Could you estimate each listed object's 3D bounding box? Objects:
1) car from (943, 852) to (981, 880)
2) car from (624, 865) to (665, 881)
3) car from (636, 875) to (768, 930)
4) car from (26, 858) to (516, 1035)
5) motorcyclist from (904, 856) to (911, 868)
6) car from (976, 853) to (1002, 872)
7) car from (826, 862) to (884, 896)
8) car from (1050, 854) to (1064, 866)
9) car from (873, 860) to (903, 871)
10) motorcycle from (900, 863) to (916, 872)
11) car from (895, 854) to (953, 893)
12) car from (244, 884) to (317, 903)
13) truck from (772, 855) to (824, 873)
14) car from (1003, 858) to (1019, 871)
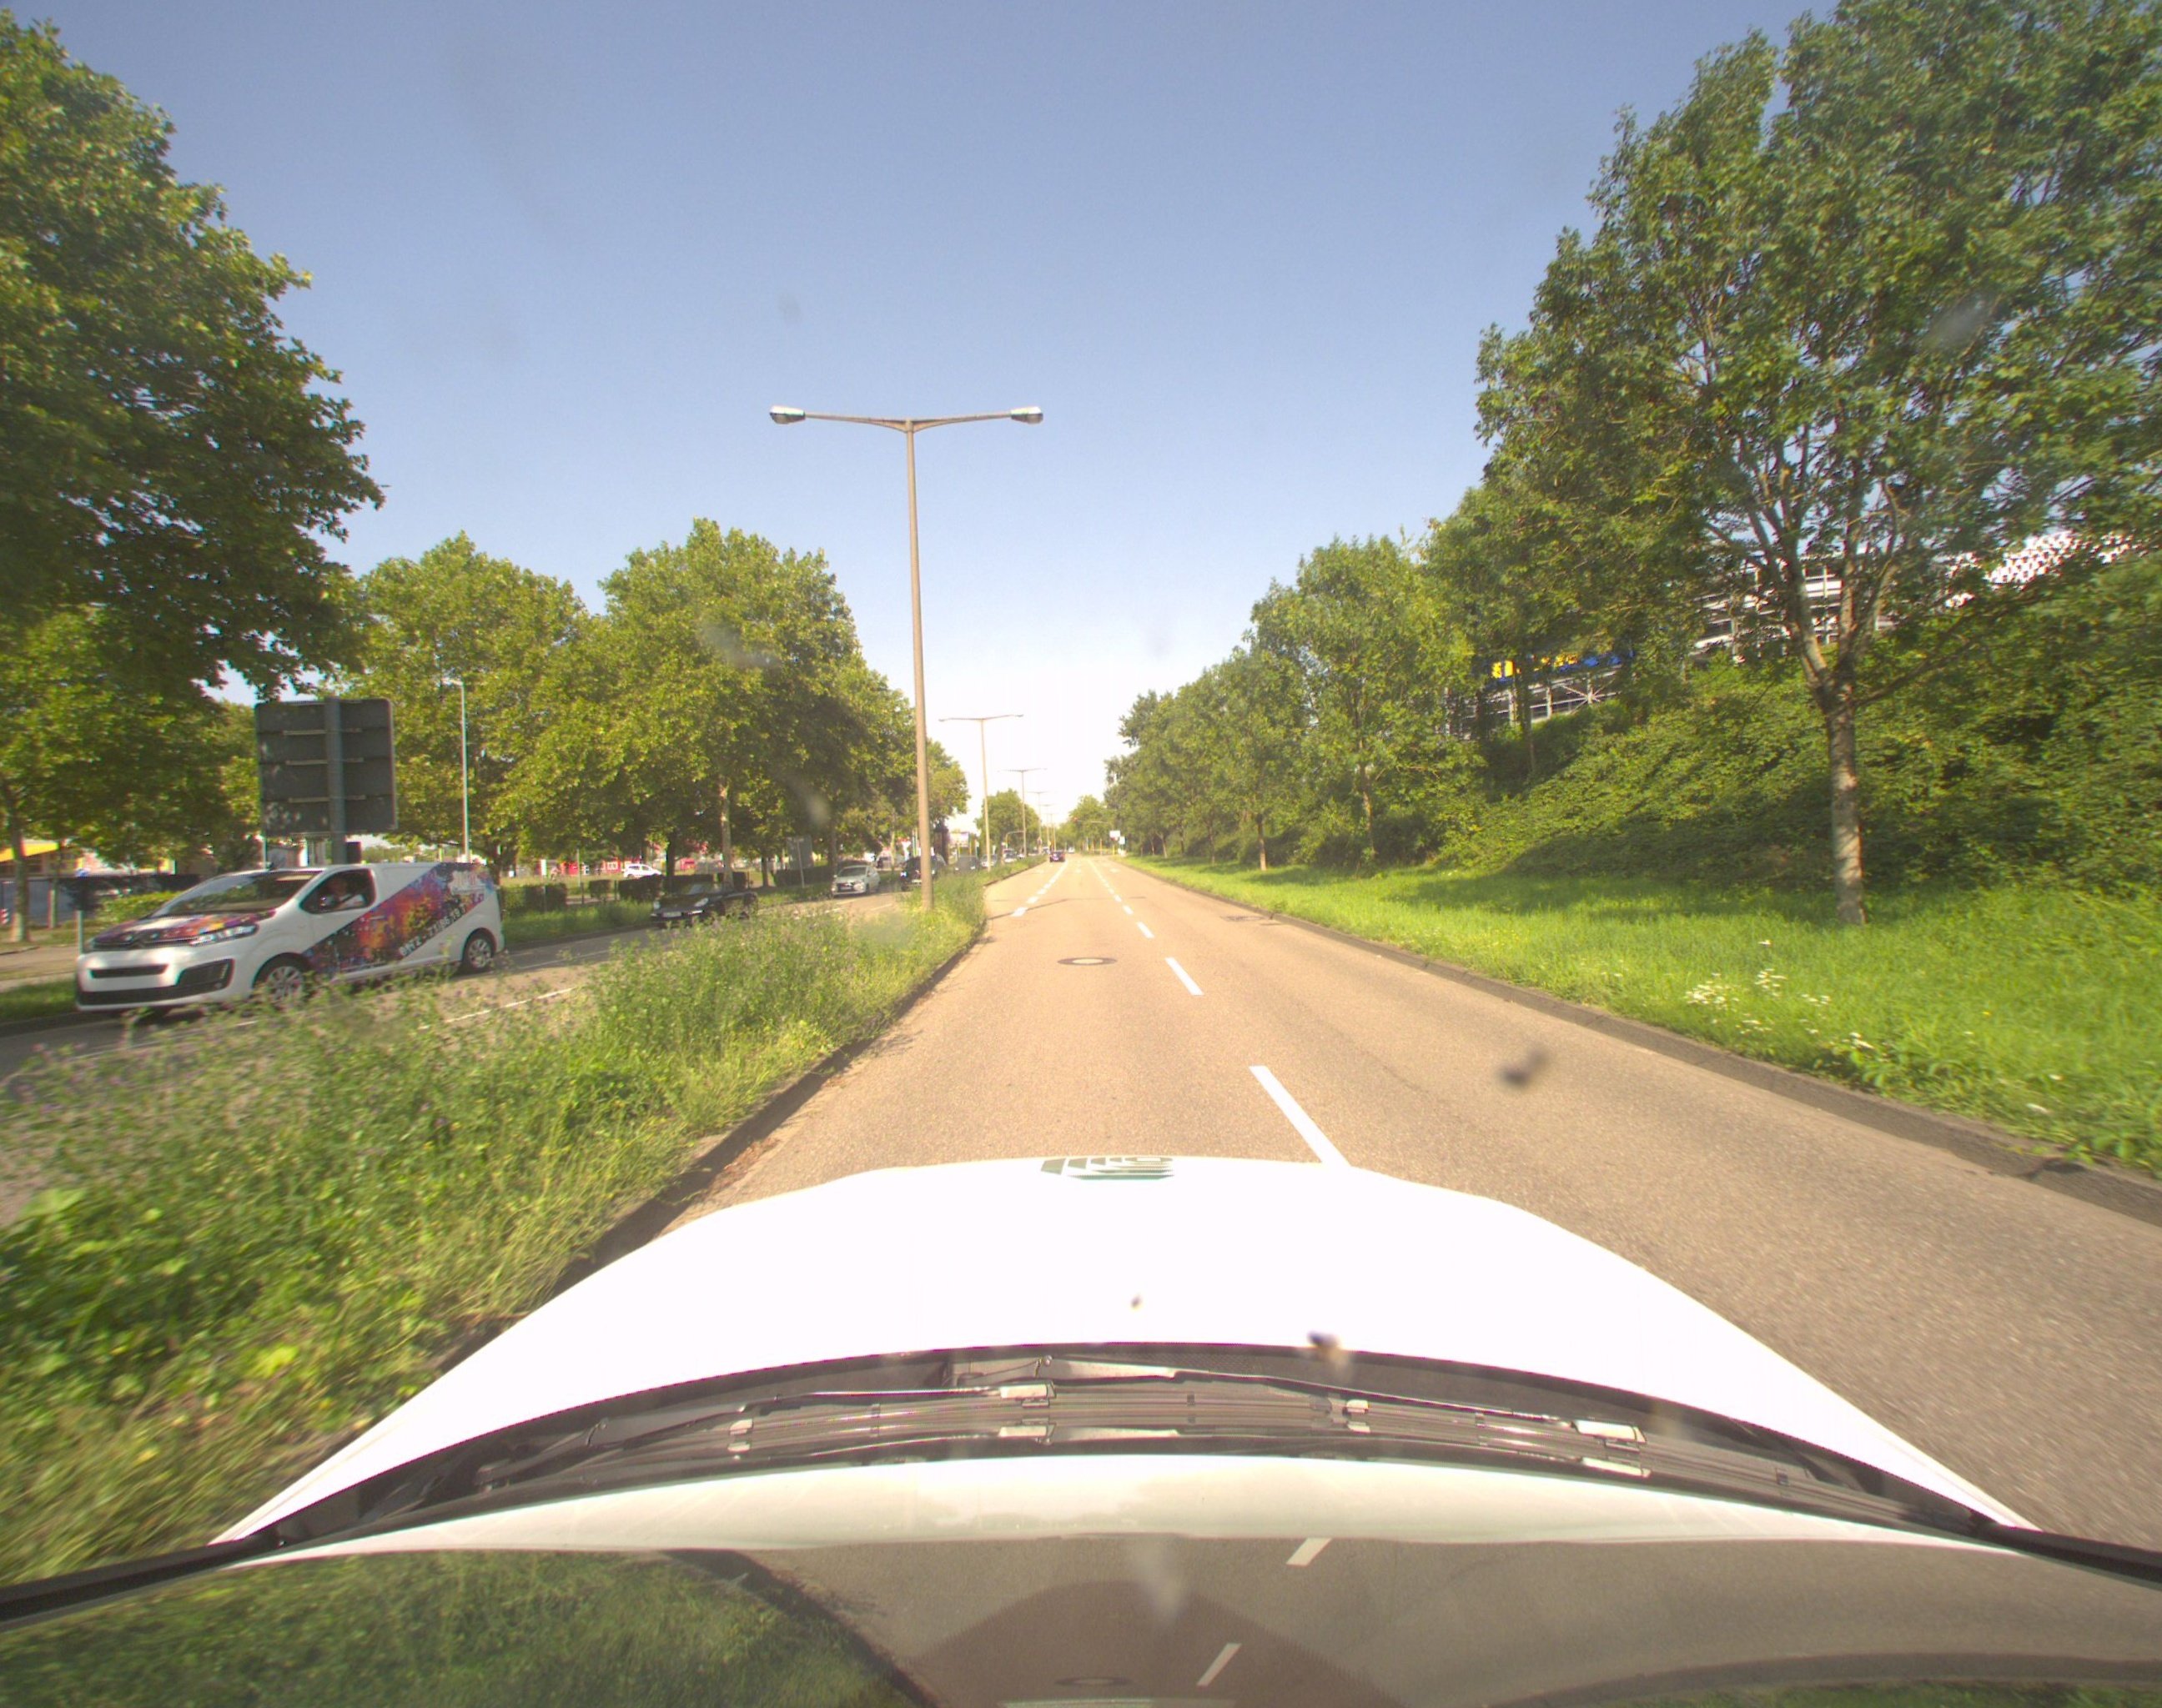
[{"bbox_3d":[-8.484,0.849,58.385,1.987,1.759,4.306,-4,0,0],"label":"car"},{"bbox_3d":[-50.203,2.119,93.655,4.016,1.679,1.850,-1,0,-34],"label":"car"},{"bbox_3d":[-11.006,1.352,24.004,1.784,1.263,4.097,-4,0,2],"label":"car"},{"bbox_3d":[-10.955,1.065,11.763,1.978,1.858,4.968,-4,0,0],"label":"car"},{"bbox_3d":[-23.618,1.129,111.078,0.687,1.572,0.676,-1,0,-36],"label":"motorcyclist"},{"bbox_3d":[-8.462,0.767,74.977,1.874,1.594,4.107,-2,0,0],"label":"car"},{"bbox_3d":[-11.168,1.207,40.482,1.786,1.482,3.997,-3,0,-2],"label":"car"},{"bbox_3d":[-3.127,0.805,105.666,1.687,1.486,3.999,-3,0,0],"label":"car"},{"bbox_3d":[-26.687,1.608,112.508,3.719,1.443,1.450,-1,0,-37],"label":"car"},{"bbox_3d":[-23.585,1.799,111.077,2.085,1.136,0.670,-2,-1,-36],"label":"motorcycle"},{"bbox_3d":[-8.054,0.963,42.152,1.987,1.759,4.476,-4,0,0],"label":"car"},{"bbox_3d":[-74.521,3.670,75.912,4.612,1.545,1.849,1,0,-40],"label":"car"},{"bbox_3d":[-56.071,1.995,161.639,9.055,2.957,3.475,-3,0,-36],"label":"truck"},{"bbox_3d":[-8.442,1.236,98.986,1.671,1.486,3.491,-2,0,-1],"label":"car"}]
